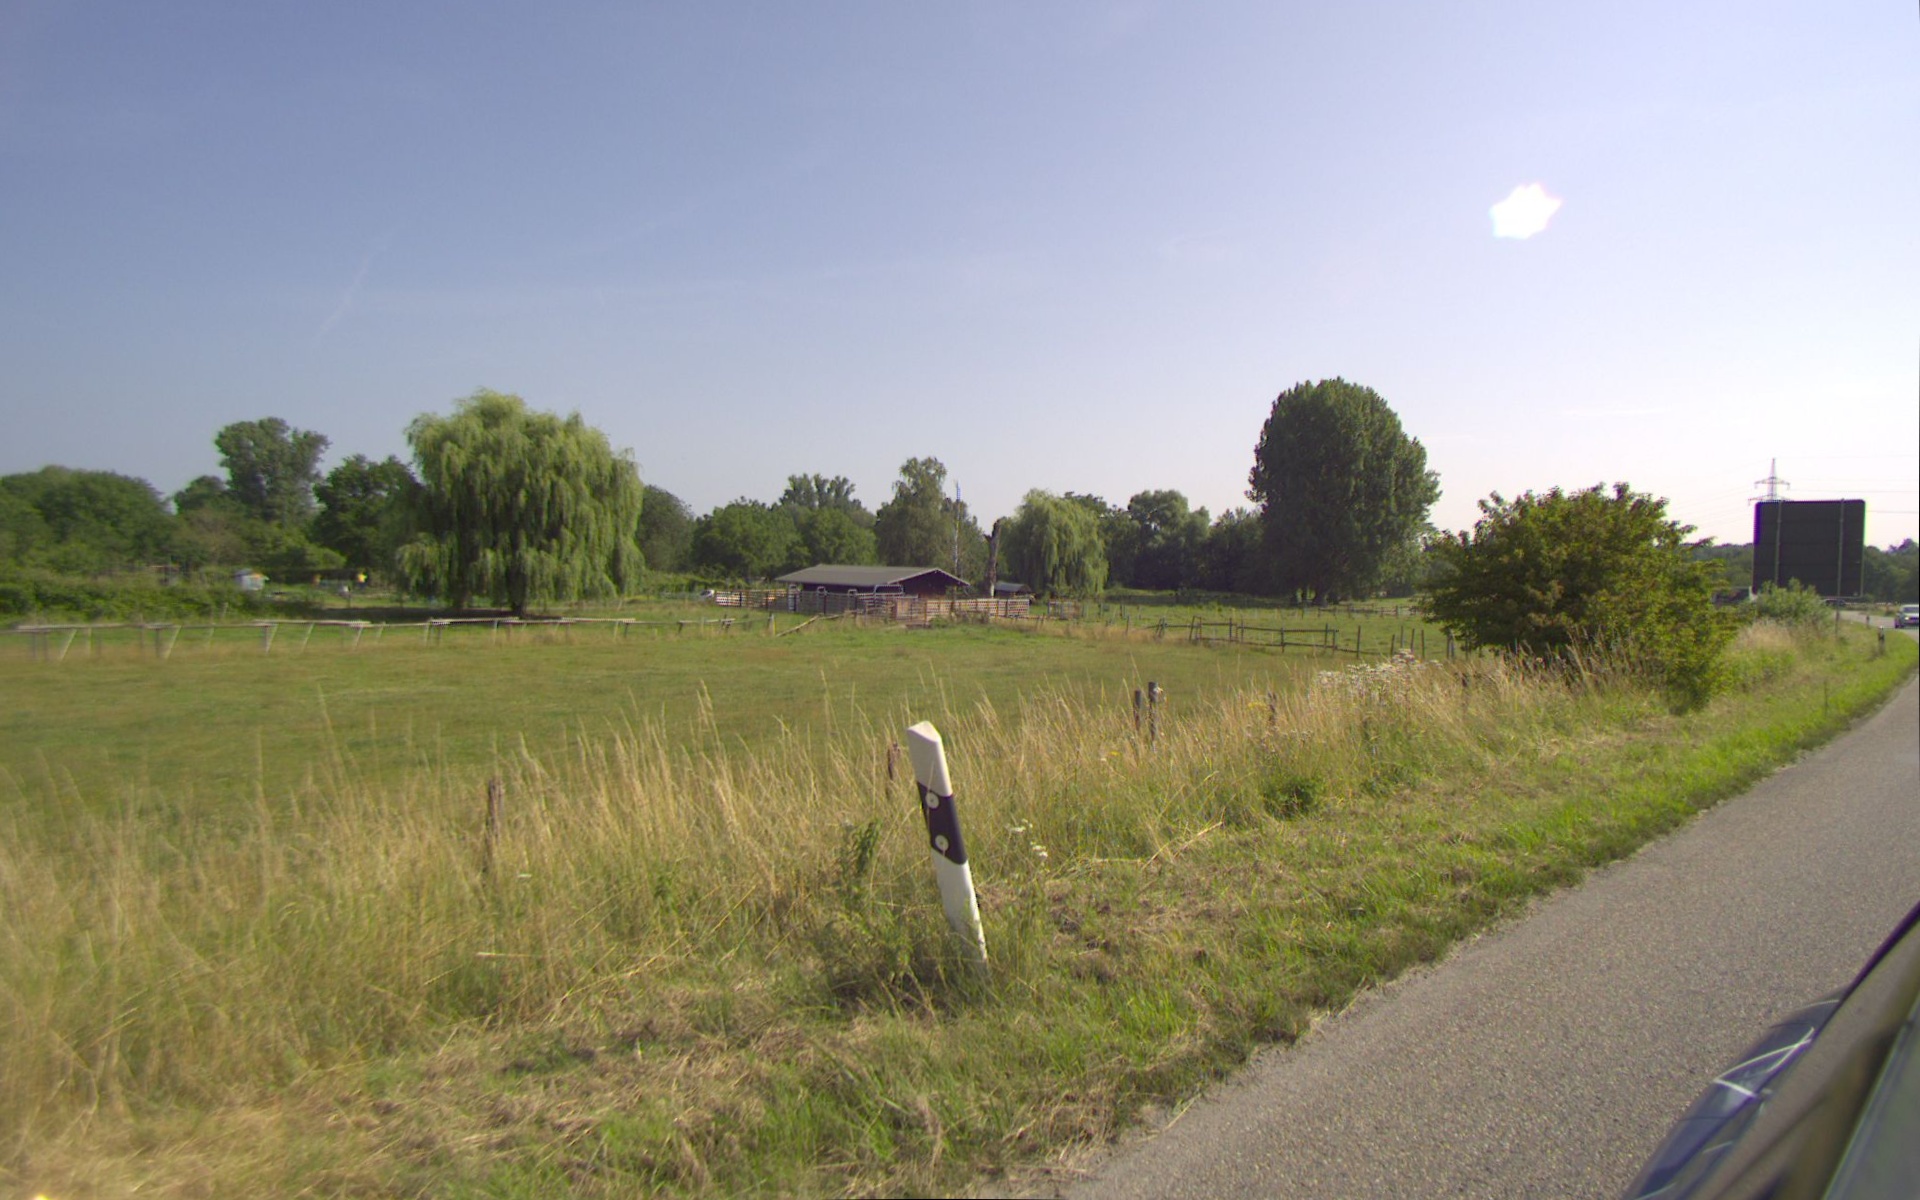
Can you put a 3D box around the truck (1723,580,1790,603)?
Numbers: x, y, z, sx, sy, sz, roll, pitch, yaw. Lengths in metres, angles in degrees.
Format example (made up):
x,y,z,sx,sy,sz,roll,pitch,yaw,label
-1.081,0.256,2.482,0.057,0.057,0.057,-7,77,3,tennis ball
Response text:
x,y,z,sx,sy,sz,roll,pitch,yaw,label
112.830,-1.250,143.432,7.341,3.084,2.543,1,1,44,truck

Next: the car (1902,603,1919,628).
x,y,z,sx,sy,sz,roll,pitch,yaw,label
63.774,0.997,66.782,1.989,1.600,3.855,1,1,38,car

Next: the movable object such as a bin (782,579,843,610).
x,y,z,sx,sy,sz,roll,pitch,yaw,label
-10.804,-0.373,74.421,1.992,2.221,4.100,-1,0,42,movable object such as a bin

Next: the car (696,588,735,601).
x,y,z,sx,sy,sz,roll,pitch,yaw,label
-19.582,-0.431,81.207,1.220,1.018,3.014,1,1,35,car
